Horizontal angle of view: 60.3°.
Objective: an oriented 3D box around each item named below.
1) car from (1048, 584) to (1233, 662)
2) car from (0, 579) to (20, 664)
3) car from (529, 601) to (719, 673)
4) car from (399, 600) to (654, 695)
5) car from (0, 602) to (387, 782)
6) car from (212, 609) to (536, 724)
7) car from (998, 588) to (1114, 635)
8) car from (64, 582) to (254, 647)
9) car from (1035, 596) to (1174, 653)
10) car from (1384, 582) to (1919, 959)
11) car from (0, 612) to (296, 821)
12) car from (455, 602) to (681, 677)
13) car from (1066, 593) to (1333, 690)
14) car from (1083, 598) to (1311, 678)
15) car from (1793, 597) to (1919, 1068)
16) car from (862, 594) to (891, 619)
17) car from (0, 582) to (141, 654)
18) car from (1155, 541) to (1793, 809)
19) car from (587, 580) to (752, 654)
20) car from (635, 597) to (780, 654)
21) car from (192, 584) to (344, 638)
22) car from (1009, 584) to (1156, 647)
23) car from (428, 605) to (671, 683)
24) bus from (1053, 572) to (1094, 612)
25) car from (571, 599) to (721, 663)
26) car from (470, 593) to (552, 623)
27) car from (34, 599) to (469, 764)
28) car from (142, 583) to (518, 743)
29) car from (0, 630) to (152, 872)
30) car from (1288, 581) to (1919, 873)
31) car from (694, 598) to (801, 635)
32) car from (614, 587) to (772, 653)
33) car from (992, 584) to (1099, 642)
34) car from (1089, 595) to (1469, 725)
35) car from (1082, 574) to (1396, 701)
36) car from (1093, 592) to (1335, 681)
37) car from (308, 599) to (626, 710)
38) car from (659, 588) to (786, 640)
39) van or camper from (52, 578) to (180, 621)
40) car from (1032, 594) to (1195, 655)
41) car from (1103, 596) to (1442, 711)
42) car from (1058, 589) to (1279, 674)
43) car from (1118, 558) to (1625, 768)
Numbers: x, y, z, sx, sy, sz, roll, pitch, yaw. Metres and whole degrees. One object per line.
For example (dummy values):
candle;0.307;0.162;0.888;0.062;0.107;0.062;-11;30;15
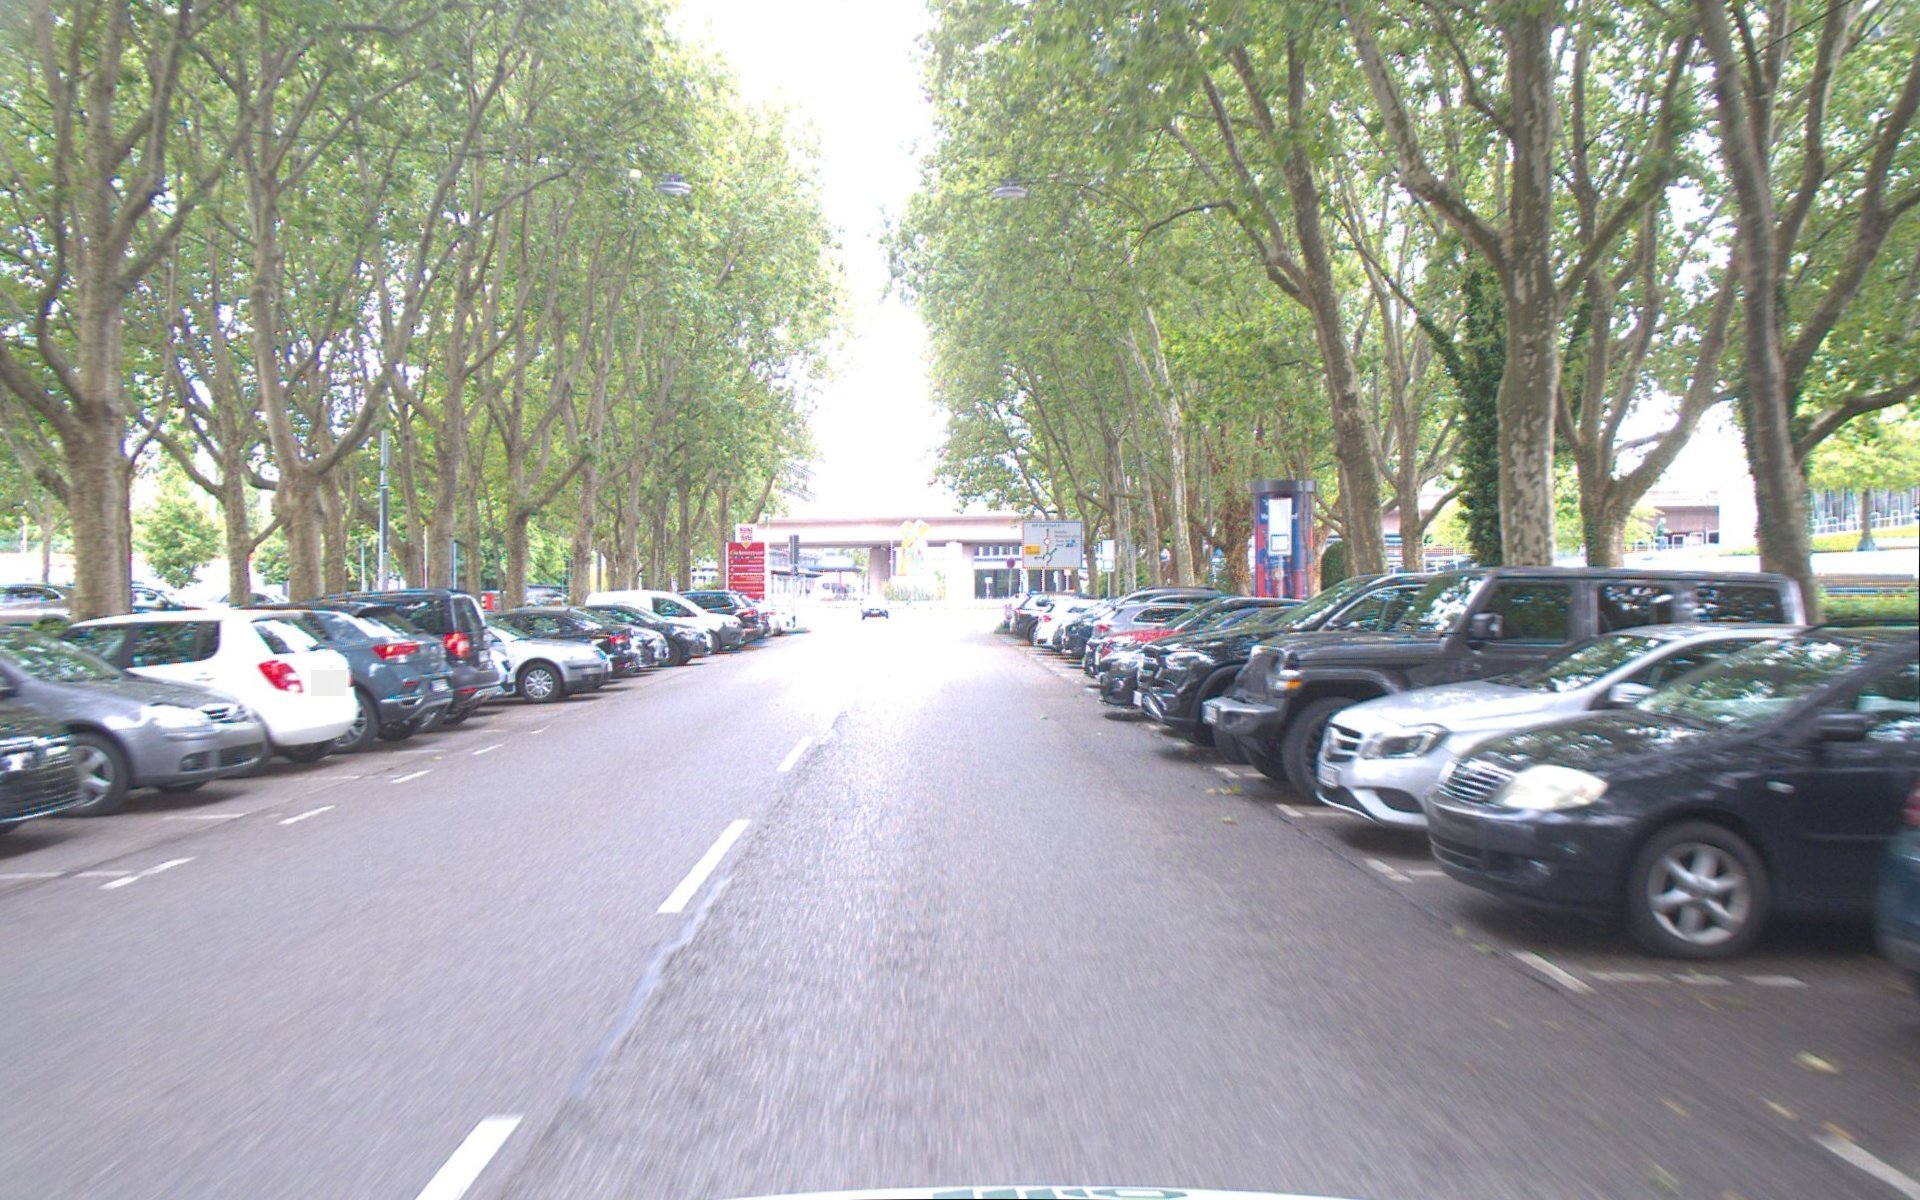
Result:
car;4.386;0.549;40.577;4.259;1.776;1.836;1;1;-3
car;-23.353;0.455;36.308;4.234;1.893;2.027;1;0;-2
car;-7.636;0.830;37.792;3.896;1.445;1.756;-2;0;2
car;-7.277;0.783;28.030;3.852;1.422;1.702;-2;0;-3
car;-7.730;0.846;15.719;3.909;1.511;1.704;-2;0;3
car;-8.090;0.897;23.117;3.852;1.388;1.826;-2;0;-3
car;3.631;0.435;63.117;4.258;1.662;1.925;1;1;-1
car;-23.436;0.425;48.524;4.427;1.793;2.295;1;0;-2
car;3.956;0.666;45.634;3.568;1.452;1.664;1;1;-4
car;4.347;0.773;7.967;4.111;1.545;1.784;2;0;-2
car;-7.487;0.893;12.865;3.913;1.445;1.702;-2;0;-3
car;-8.323;0.823;35.439;4.373;1.393;1.879;-2;0;-2
car;4.136;0.707;28.917;4.263;1.528;1.923;1;1;-7
car;4.680;0.746;33.137;4.258;1.438;1.925;1;1;-1
car;5.248;0.820;5.471;4.113;1.545;1.784;1;1;-5
car;-5.323;0.419;106.319;1.805;1.536;4.013;1;0;-2
car;-23.394;0.438;41.570;4.460;1.756;2.295;1;0;-2
car;3.947;0.555;13.225;4.407;1.899;2.046;1;1;-5
car;-7.941;0.449;45.543;4.233;1.841;1.866;-2;0;-5
car;-7.661;0.767;50.507;4.044;1.477;2.013;-3;0;1
car;-23.382;0.379;56.033;4.234;1.739;2.131;1;0;-2
car;3.723;0.465;50.766;4.259;1.791;1.924;2;0;-3
car;-8.184;0.859;33.248;4.371;1.371;1.902;-2;0;0
bus;10.291;-0.748;149.114;2.283;3.458;10.028;0;0;12
car;-8.120;0.777;42.840;3.716;1.497;1.760;-2;0;-12
car;-24.370;0.423;89.846;3.906;1.549;2.001;1;0;-1
car;-7.445;0.824;17.667;3.852;1.542;1.727;-2;0;-3
car;-7.559;0.726;20.132;3.852;1.738;1.751;-2;0;-3
car;-7.597;0.891;10.584;3.907;1.393;1.843;1;0;-3
car;4.490;0.729;10.554;4.402;1.599;2.048;1;1;2
car;-8.423;0.661;65.688;3.910;1.409;1.912;1;0;2
car;-7.712;0.583;48.064;4.229;1.826;2.036;1;0;-1
car;3.232;0.479;62.881;3.906;2.049;2.000;1;1;-1
car;3.911;0.721;20.847;4.403;1.453;1.932;1;0;-1
car;4.288;0.557;25.805;4.410;1.828;2.044;1;1;-8
car;4.755;0.673;31.395;4.258;1.528;1.925;1;1;-2
car;-7.539;0.804;25.599;4.374;1.508;1.702;-2;0;-3
car;-8.303;0.478;58.020;4.179;1.575;1.907;-3;0;-3
van or camper;-35.435;-0.020;69.502;4.234;1.739;2.131;1;0;-2
car;3.951;0.622;43.076;4.064;1.483;1.727;1;0;-1
car;4.293;0.723;23.220;4.403;1.444;1.829;1;0;0
car;4.394;0.647;35.357;4.497;1.668;1.873;1;1;1
car;3.873;0.572;16.166;4.404;1.828;2.047;1;1;-2
